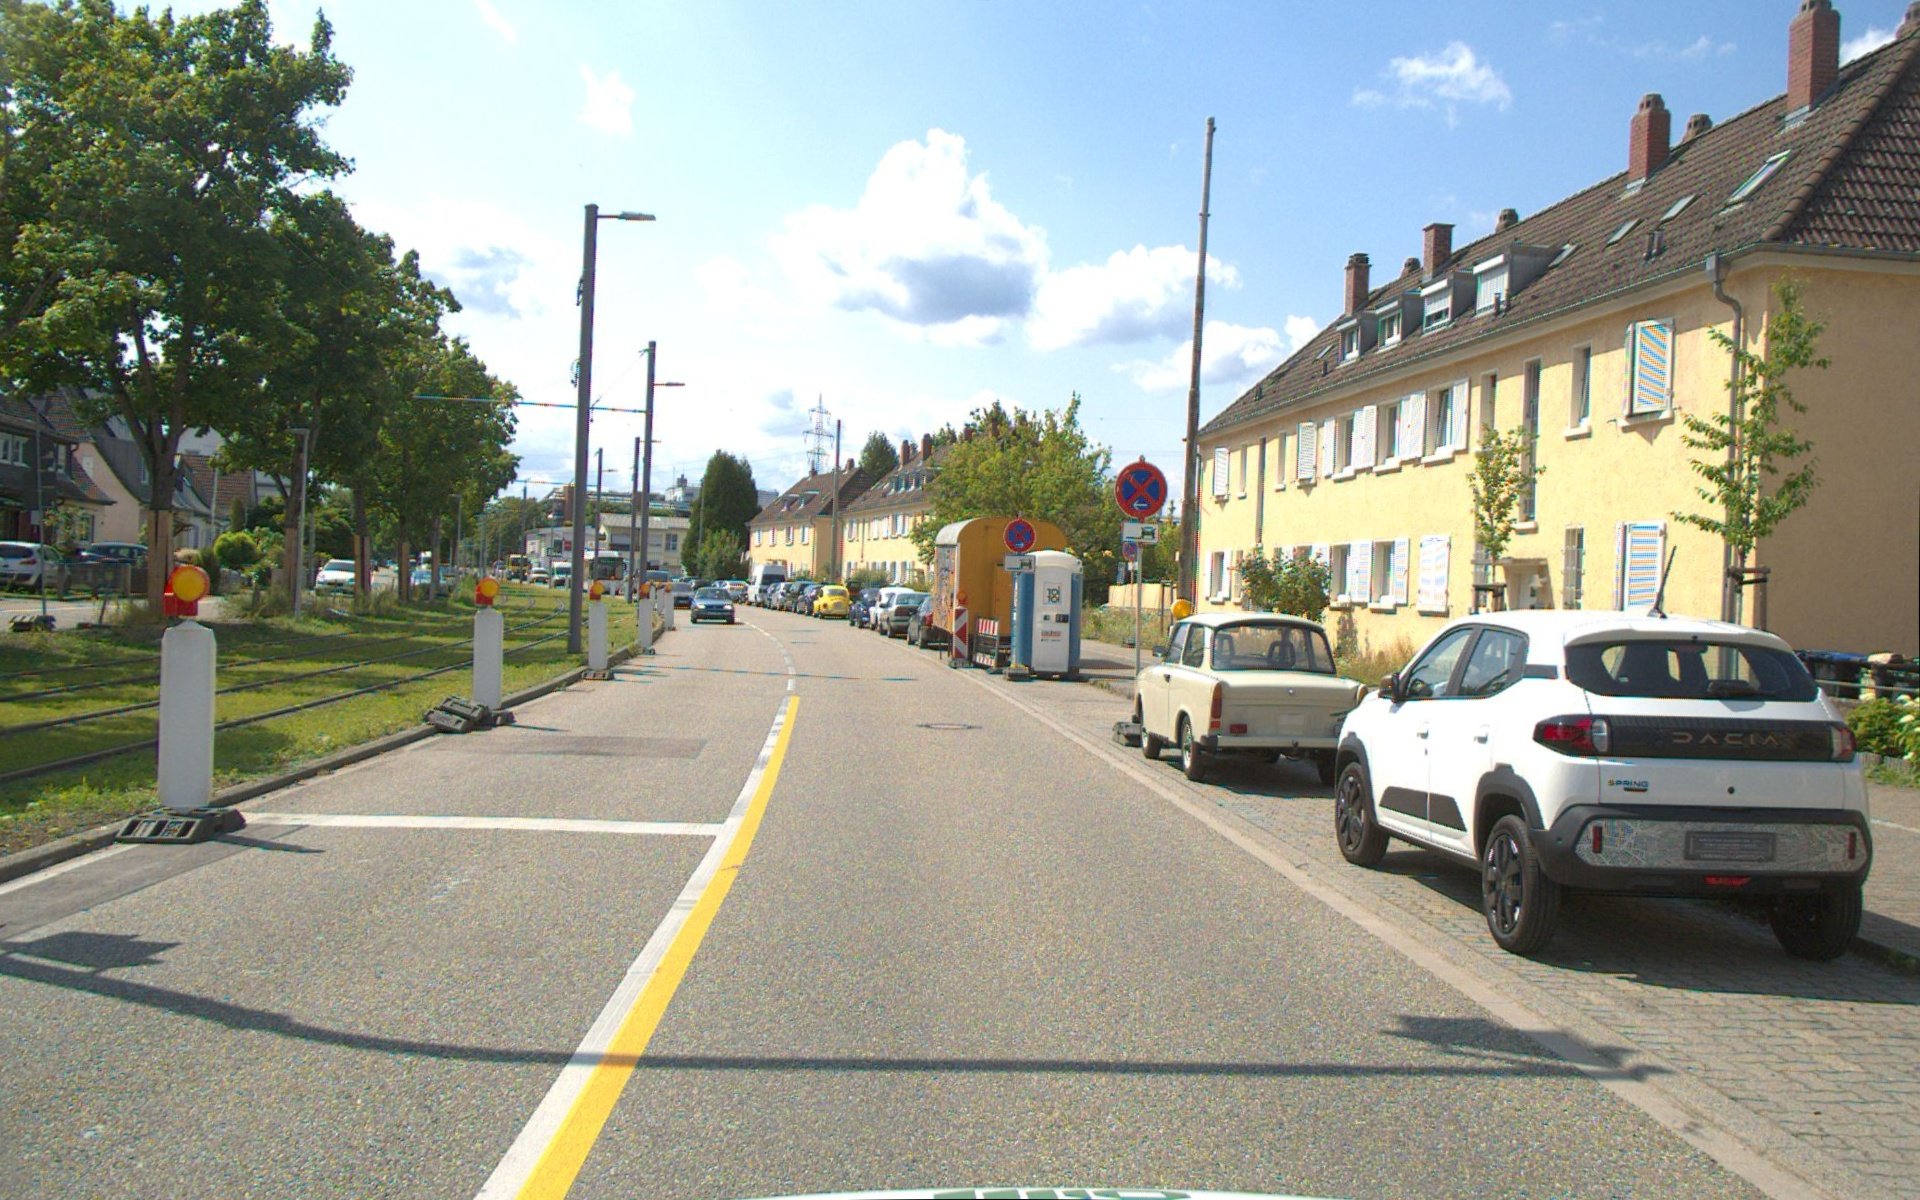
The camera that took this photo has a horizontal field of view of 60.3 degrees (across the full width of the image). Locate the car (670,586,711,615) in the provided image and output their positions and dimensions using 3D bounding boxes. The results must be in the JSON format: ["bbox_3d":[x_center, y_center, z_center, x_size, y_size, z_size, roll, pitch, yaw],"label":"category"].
[{"bbox_3d":[-14.494,0.012,88.815,1.696,1.413,4.105,2,0,-15],"label":"car"}]

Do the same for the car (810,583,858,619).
[{"bbox_3d":[-5.723,0.022,74.819,1.608,1.508,3.920,-1,2,-12],"label":"car"}]

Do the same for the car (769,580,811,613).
[{"bbox_3d":[-9.193,-0.222,89.238,1.609,1.630,4.014,2,0,-14],"label":"car"}]

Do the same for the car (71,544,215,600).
[{"bbox_3d":[-30.459,-1.023,61.798,4.395,1.868,2.058,2,0,-14],"label":"car"}]

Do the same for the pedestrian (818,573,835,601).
[{"bbox_3d":[-8.202,-0.787,101.516,0.839,1.680,0.634,2,0,-14],"label":"pedestrian"}]

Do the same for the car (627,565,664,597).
[{"bbox_3d":[-20.061,-1.224,105.465,1.923,2.000,5.272,1,1,-15],"label":"car"}]

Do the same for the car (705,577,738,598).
[{"bbox_3d":[-16.826,-0.911,116.515,1.596,1.442,3.979,0,1,-19],"label":"car"}]

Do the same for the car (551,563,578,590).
[{"bbox_3d":[-38.800,-2.326,162.078,2.070,2.486,5.543,2,0,-18],"label":"car"}]

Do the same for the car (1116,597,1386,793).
[{"bbox_3d":[2.532,0.764,15.292,1.434,1.528,4.105,1,0,-5],"label":"car"}]

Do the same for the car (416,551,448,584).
[{"bbox_3d":[-46.444,-2.860,145.430,2.045,2.768,6.954,0,1,-23],"label":"car"}]

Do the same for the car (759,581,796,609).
[{"bbox_3d":[-10.387,-0.289,93.868,1.510,1.470,3.723,2,0,-14],"label":"car"}]

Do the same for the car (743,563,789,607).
[{"bbox_3d":[-11.651,-0.937,99.057,1.898,2.524,5.495,1,1,-15],"label":"car"}]

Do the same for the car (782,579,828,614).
[{"bbox_3d":[-8.041,-0.197,85.398,1.610,1.630,3.914,2,0,-16],"label":"car"}]

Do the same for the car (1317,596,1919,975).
[{"bbox_3d":[3.105,0.752,8.619,1.497,1.507,3.807,1,0,-3],"label":"car"}]

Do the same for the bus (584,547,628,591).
[{"bbox_3d":[-29.506,-2.578,137.541,2.594,3.472,12.192,1,1,-17],"label":"bus"}]

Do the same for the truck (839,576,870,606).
[{"bbox_3d":[-6.275,-0.516,98.045,1.324,1.718,2.431,2,0,-15],"label":"truck"}]

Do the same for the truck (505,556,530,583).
[{"bbox_3d":[-58.248,-4.032,217.817,2.522,3.519,7.107,0,1,-20],"label":"truck"}]

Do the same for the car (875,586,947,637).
[{"bbox_3d":[-1.604,0.320,52.689,1.675,1.474,4.825,2,0,-9],"label":"car"}]

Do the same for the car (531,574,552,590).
[{"bbox_3d":[-47.753,-2.061,188.761,1.710,1.804,4.281,2,0,-21],"label":"car"}]

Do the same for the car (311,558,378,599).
[{"bbox_3d":[-28.787,-1.011,77.544,1.846,1.799,5.073,2,0,-8],"label":"car"}]

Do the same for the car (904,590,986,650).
[{"bbox_3d":[-0.464,0.502,44.901,1.548,1.474,4.444,2,0,-9],"label":"car"}]

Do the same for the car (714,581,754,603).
[{"bbox_3d":[-15.249,-0.554,111.295,1.772,1.483,4.738,0,0,-19],"label":"car"}]

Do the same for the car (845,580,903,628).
[{"bbox_3d":[-3.294,0.128,62.761,1.521,1.669,4.234,2,0,-12],"label":"car"}]

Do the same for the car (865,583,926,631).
[{"bbox_3d":[-2.290,0.222,57.731,1.548,1.539,4.450,2,0,-9],"label":"car"}]

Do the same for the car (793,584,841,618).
[{"bbox_3d":[-6.934,0.013,79.953,1.609,1.508,4.109,2,0,-14],"label":"car"}]

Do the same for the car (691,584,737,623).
[{"bbox_3d":[-9.795,0.112,65.653,1.635,1.474,3.949,-1,1,-11],"label":"car"}]

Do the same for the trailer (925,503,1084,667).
[{"bbox_3d":[0.870,-0.322,36.681,2.640,3.283,5.073,2,0,-8],"label":"trailer"}]

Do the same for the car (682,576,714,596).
[{"bbox_3d":[-19.818,-1.079,124.904,1.737,1.442,3.979,0,1,-19],"label":"car"}]

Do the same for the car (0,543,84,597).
[{"bbox_3d":[-28.778,-0.931,51.388,1.698,1.544,4.032,2,0,-12],"label":"car"}]
